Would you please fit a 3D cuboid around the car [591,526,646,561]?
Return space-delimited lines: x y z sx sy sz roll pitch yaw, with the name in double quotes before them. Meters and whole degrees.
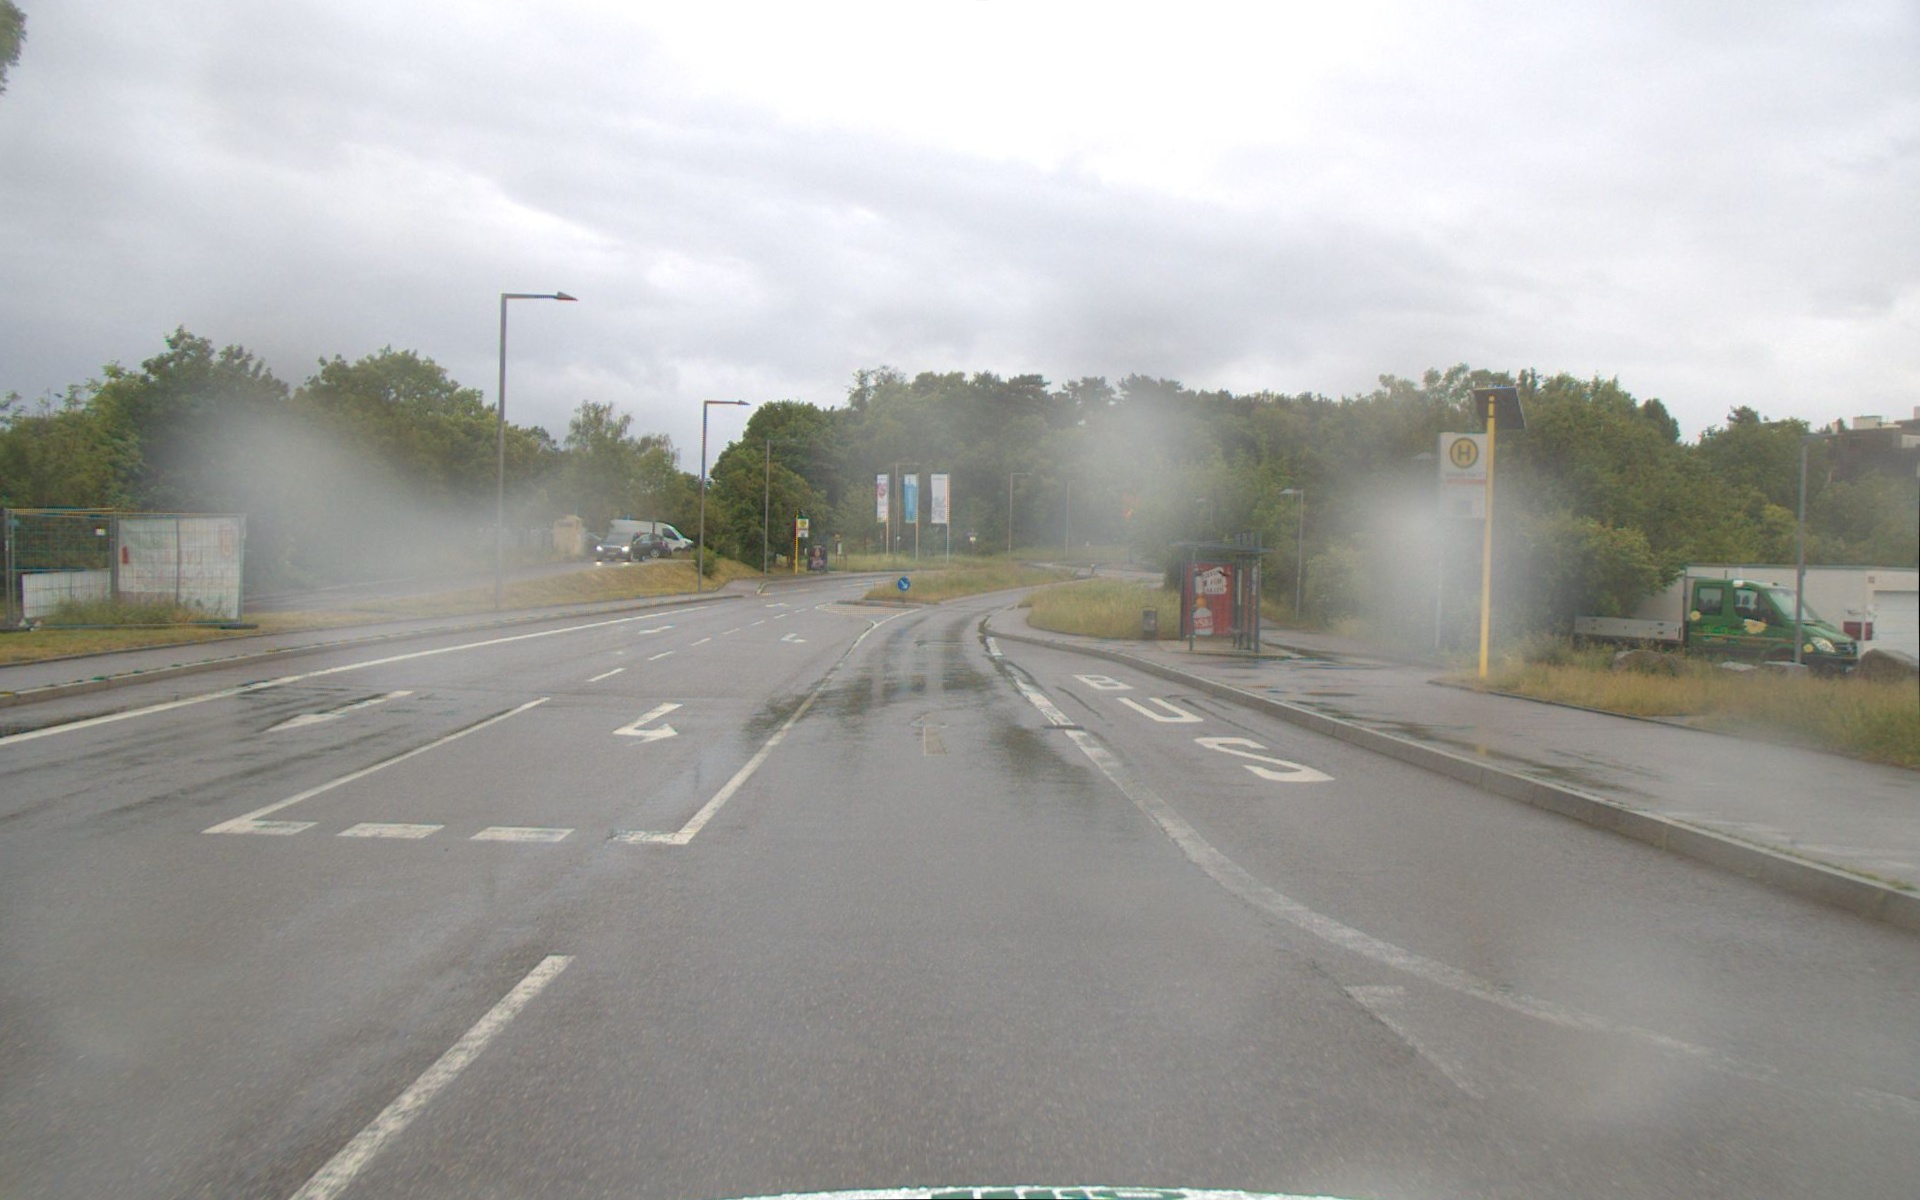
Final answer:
"car" -18.084 -3.033 87.748 1.656 1.594 4.545 4 4 3

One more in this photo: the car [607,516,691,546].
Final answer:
"car" -18.788 -4.173 100.023 4.607 1.722 2.006 0 2 3

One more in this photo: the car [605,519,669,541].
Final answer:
"car" -21.798 -4.725 111.711 3.903 1.387 1.849 2 2 5

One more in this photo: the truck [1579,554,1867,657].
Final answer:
"truck" 17.563 0.062 38.380 1.980 2.146 5.767 1 1 -39

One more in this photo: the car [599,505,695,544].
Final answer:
"car" -22.558 -5.407 119.446 6.422 2.439 2.139 3 1 0

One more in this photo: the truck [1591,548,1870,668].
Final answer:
"truck" 17.710 0.169 38.280 1.981 2.570 5.555 1 0 -40
